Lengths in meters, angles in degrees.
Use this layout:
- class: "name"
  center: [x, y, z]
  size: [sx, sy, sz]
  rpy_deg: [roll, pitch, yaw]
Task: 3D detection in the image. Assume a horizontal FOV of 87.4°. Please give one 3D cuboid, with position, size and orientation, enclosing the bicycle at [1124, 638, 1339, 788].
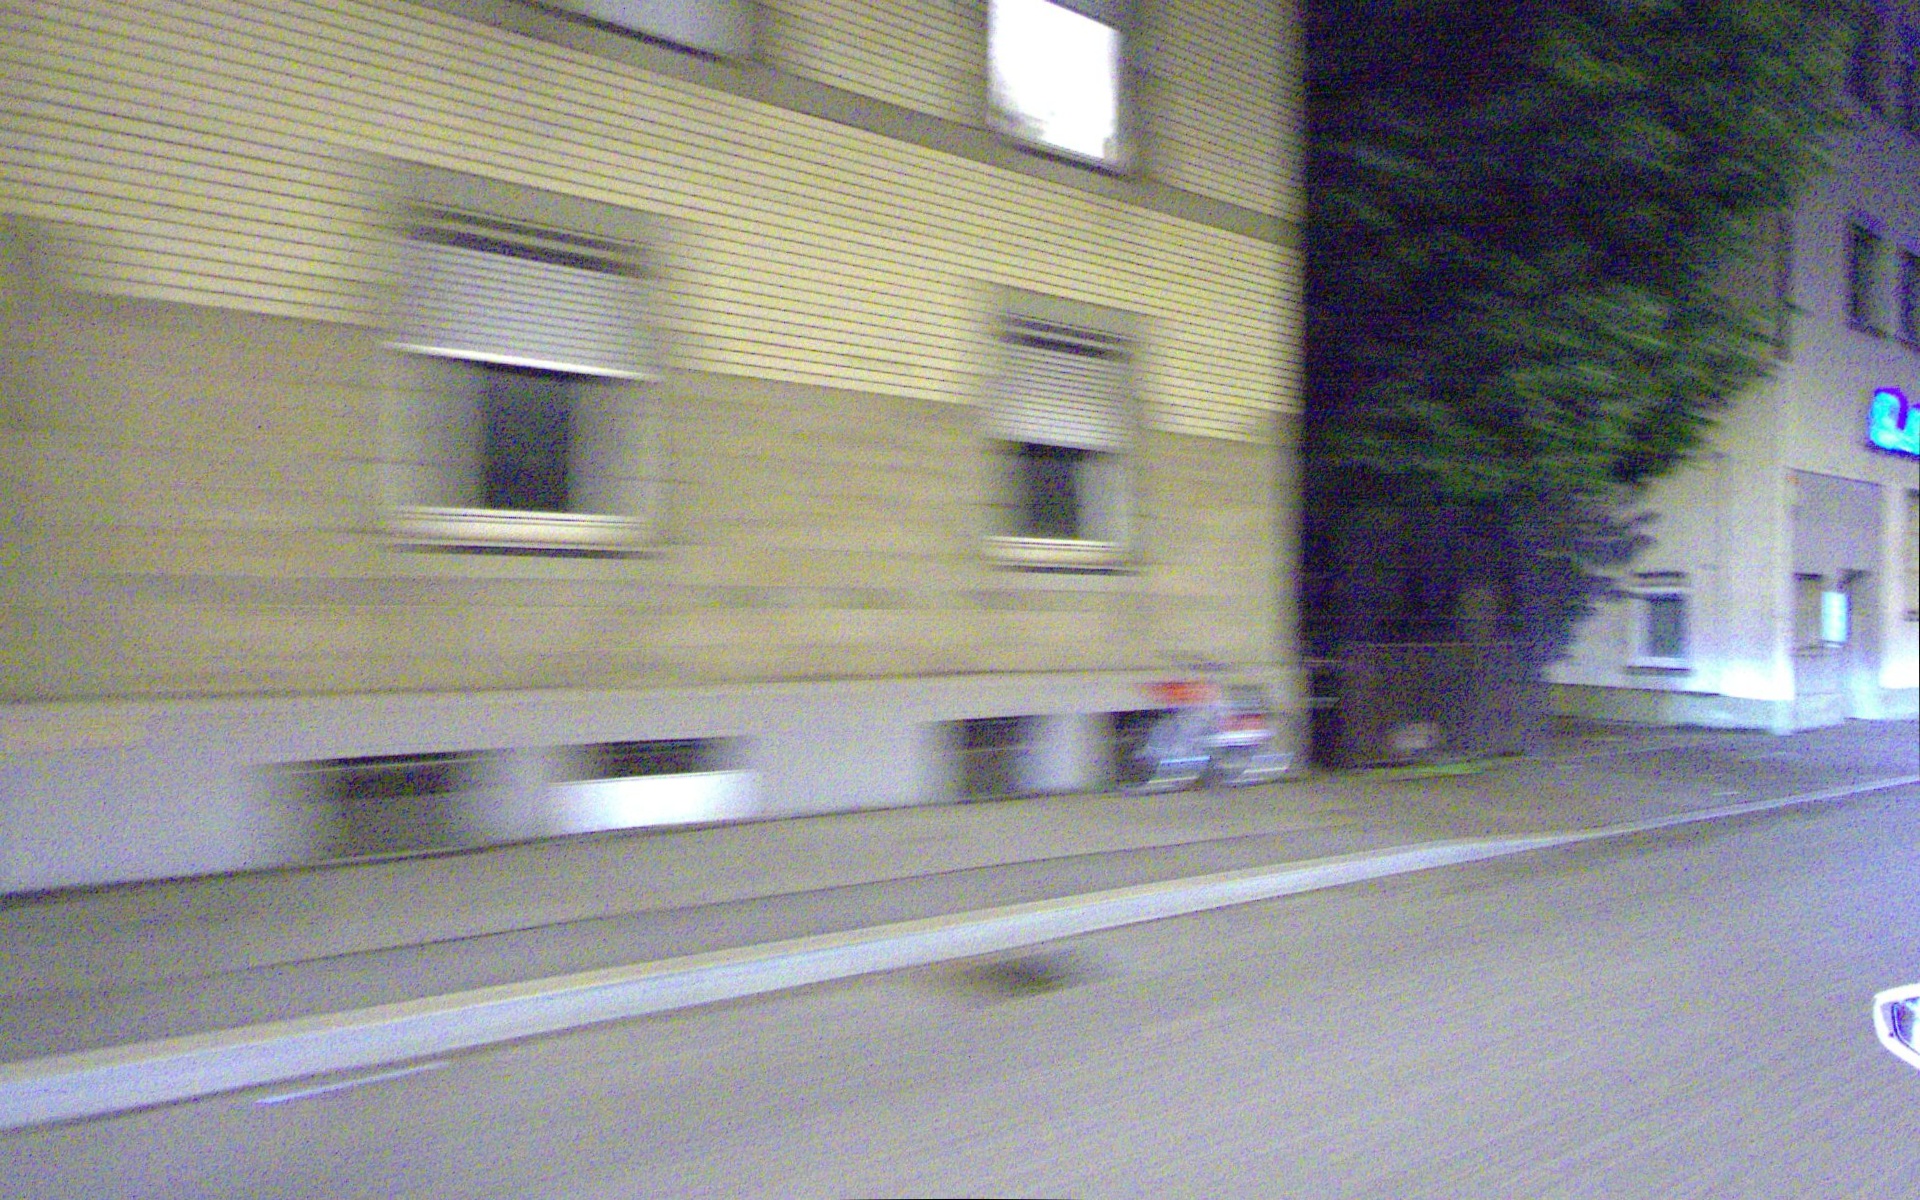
- class: "bicycle"
  center: [2.173, 0.859, 7.973]
  size: [1.701, 1.065, 0.616]
  rpy_deg: [2, -1, -30]
